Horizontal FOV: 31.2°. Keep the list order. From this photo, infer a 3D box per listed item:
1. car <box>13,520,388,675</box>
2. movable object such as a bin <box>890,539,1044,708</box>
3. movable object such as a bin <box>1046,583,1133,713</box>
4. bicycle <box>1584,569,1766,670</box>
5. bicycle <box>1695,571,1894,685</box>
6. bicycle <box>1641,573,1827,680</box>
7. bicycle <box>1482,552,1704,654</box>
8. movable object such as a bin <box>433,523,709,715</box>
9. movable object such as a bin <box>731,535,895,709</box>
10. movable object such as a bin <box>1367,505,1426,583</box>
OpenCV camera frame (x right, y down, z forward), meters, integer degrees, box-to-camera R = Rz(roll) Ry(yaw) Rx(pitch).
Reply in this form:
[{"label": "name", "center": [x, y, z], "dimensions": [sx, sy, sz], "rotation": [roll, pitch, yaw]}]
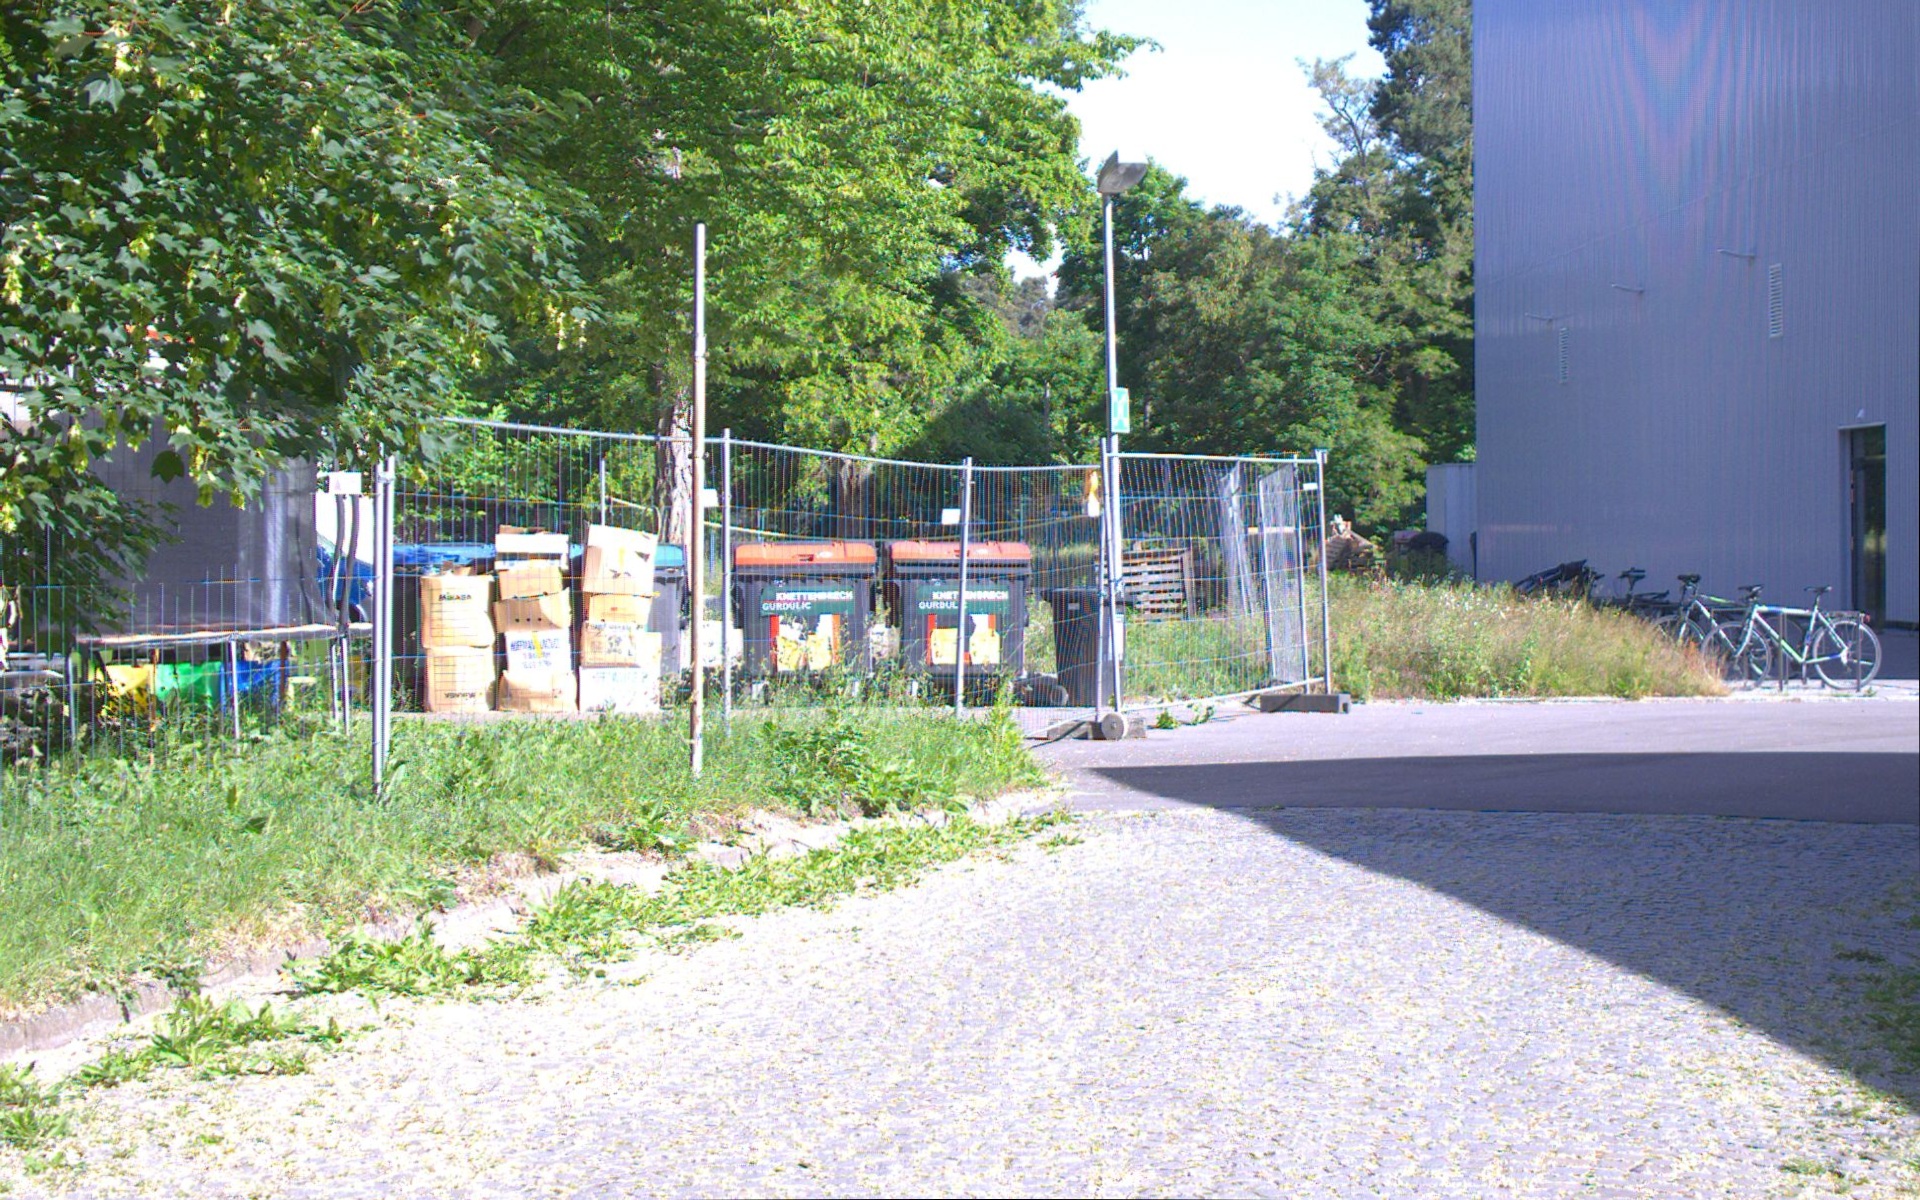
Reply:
[{"label": "car", "center": [-10.190, -0.045, 46.441], "dimensions": [4.709, 1.895, 2.000], "rotation": [-2, 0, -6]}, {"label": "movable object such as a bin", "center": [0.056, 0.197, 29.901], "dimensions": [1.244, 1.439, 0.703], "rotation": [0, 1, -8]}, {"label": "movable object such as a bin", "center": [1.118, 0.411, 29.805], "dimensions": [0.736, 1.094, 0.819], "rotation": [0, 1, 2]}, {"label": "bicycle", "center": [7.915, 0.214, 38.057], "dimensions": [1.887, 1.091, 0.526], "rotation": [-1, 0, -3]}, {"label": "bicycle", "center": [7.991, 0.264, 32.932], "dimensions": [1.799, 1.058, 0.459], "rotation": [-1, 1, -7]}, {"label": "bicycle", "center": [7.989, 0.267, 35.505], "dimensions": [1.792, 1.079, 0.525], "rotation": [0, 1, 0]}, {"label": "bicycle", "center": [8.026, 0.027, 43.686], "dimensions": [2.630, 1.262, 1.141], "rotation": [0, 1, 2]}, {"label": "movable object such as a bin", "center": [-3.339, 0.146, 29.452], "dimensions": [2.287, 1.586, 1.175], "rotation": [-1, 1, -8]}, {"label": "movable object such as a bin", "center": [-1.281, 0.181, 29.818], "dimensions": [1.337, 1.479, 0.807], "rotation": [-1, 1, -8]}, {"label": "movable object such as a bin", "center": [11.379, -1.471, 89.730], "dimensions": [1.418, 2.007, 1.125], "rotation": [0, 1, 2]}]
